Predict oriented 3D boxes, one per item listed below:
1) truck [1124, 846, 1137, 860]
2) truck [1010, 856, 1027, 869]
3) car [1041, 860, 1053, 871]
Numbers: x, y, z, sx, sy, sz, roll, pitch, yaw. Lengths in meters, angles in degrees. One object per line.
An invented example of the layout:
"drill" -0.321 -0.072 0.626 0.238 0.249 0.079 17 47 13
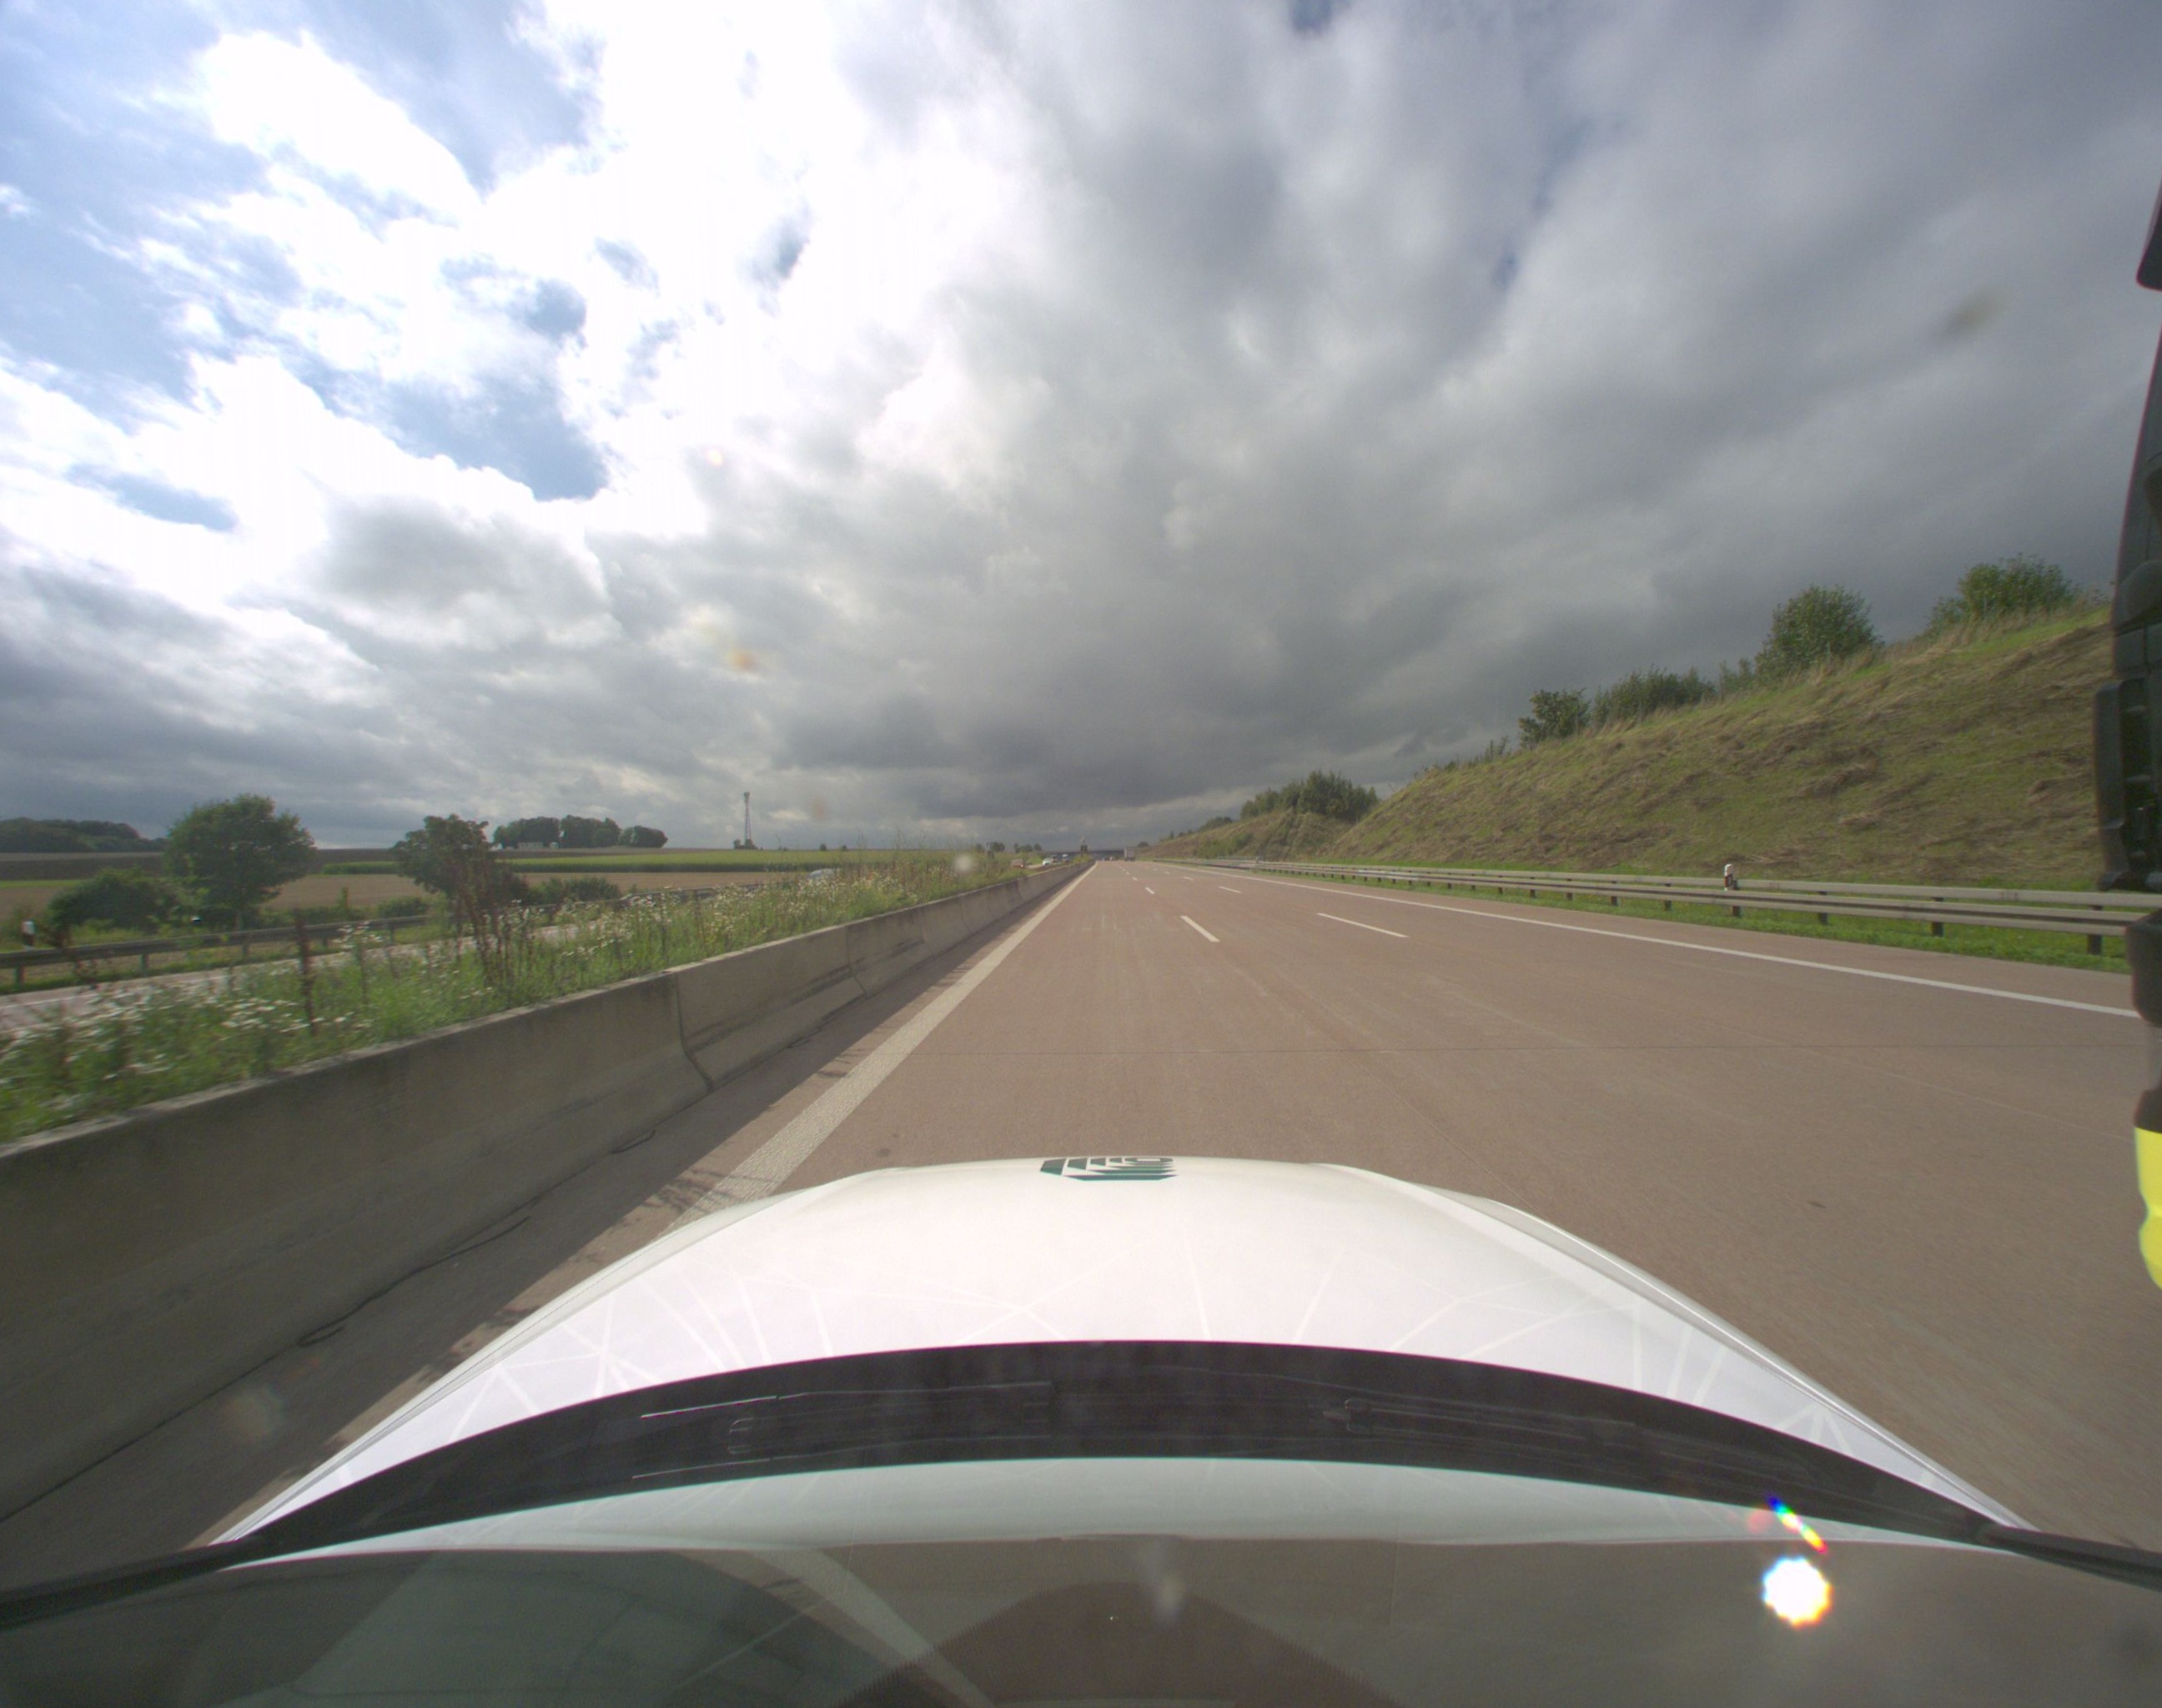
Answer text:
"truck" 14.472 -0.251 238.601 3.603 3.945 11.180 0 0 2
"truck" -8.447 1.088 110.694 1.701 1.574 4.983 -4 0 1
"car" -6.901 2.250 165.136 1.985 2.070 4.716 -2 0 3
